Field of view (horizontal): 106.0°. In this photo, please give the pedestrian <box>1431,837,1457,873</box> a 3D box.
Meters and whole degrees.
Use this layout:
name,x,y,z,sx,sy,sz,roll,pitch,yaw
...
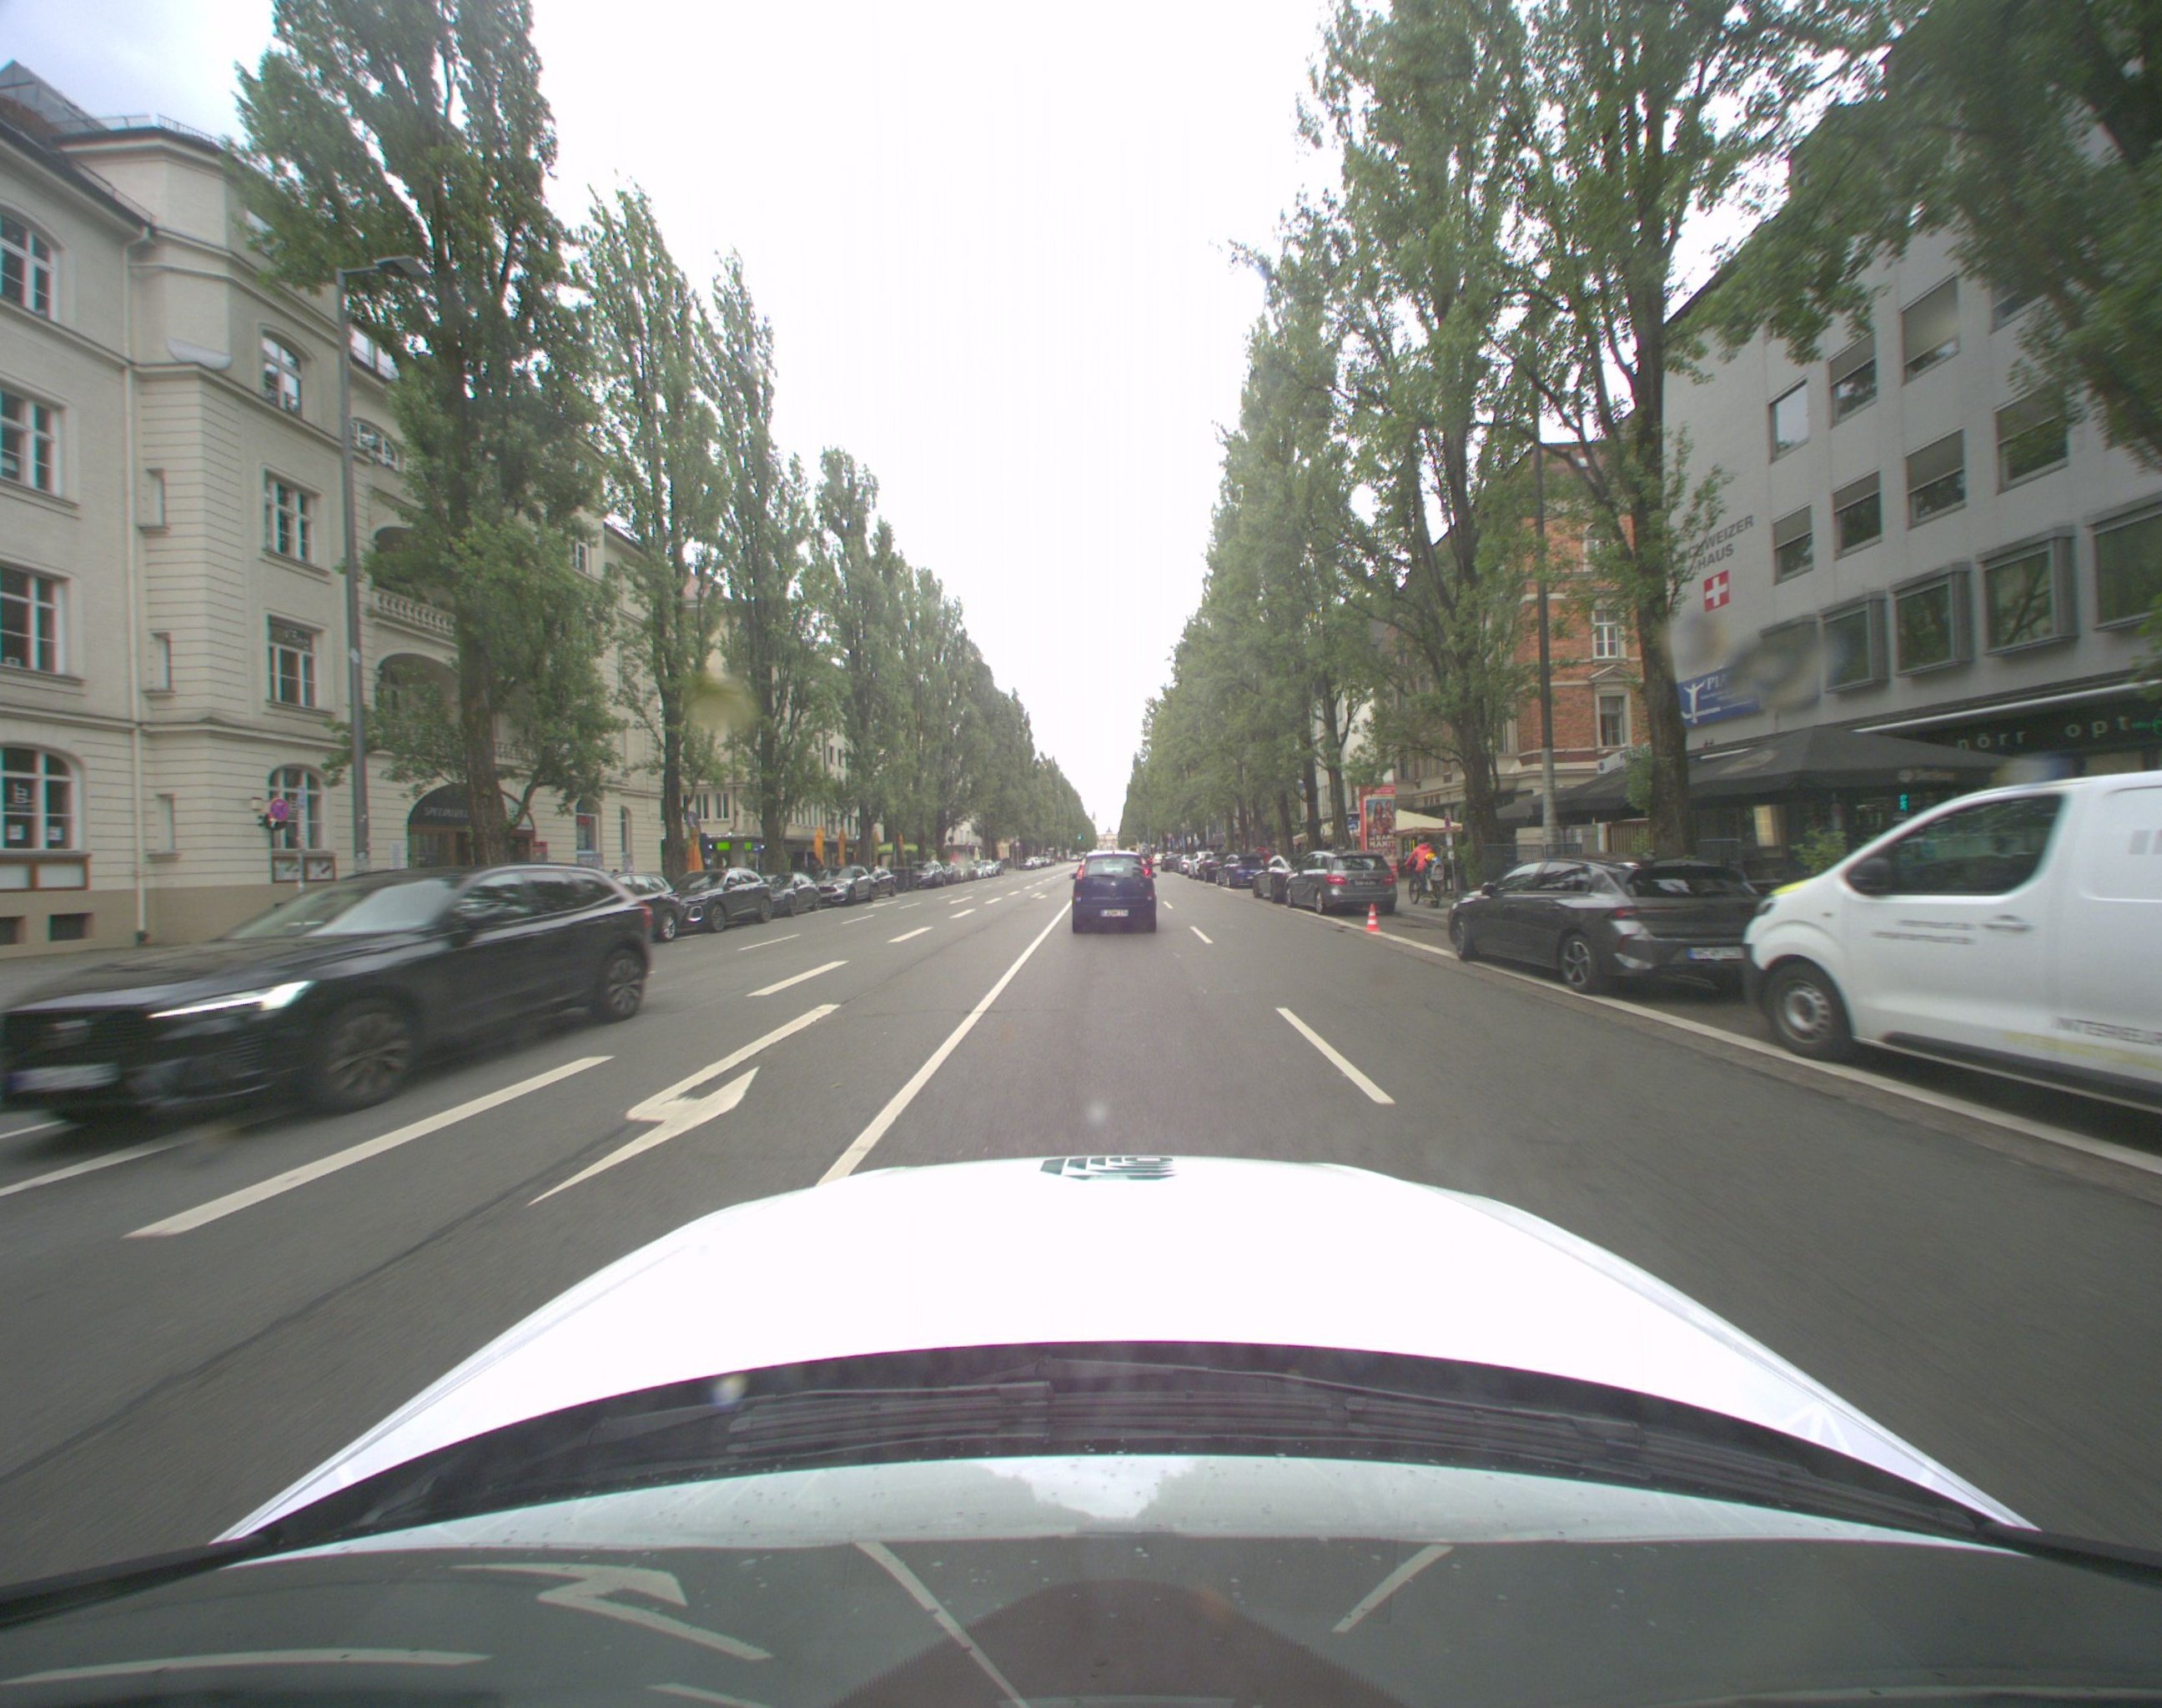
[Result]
name,x,y,z,sx,sy,sz,roll,pitch,yaw
pedestrian,16.896,0.058,37.943,0.726,1.609,0.991,-2,0,2

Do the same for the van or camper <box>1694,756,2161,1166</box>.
name,x,y,z,sx,sy,sz,roll,pitch,yaw
van or camper,5.901,0.471,4.210,1.861,1.883,4.905,-1,0,2

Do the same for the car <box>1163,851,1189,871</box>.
name,x,y,z,sx,sy,sz,roll,pitch,yaw
car,7.930,0.593,68.226,1.790,1.594,4.106,0,0,2

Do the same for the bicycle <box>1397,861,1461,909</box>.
name,x,y,z,sx,sy,sz,roll,pitch,yaw
bicycle,8.626,0.748,20.292,0.624,1.086,2.264,-2,0,1

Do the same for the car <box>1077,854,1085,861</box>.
name,x,y,z,sx,sy,sz,roll,pitch,yaw
car,0.024,0.881,217.187,1.828,1.739,3.780,-2,0,1

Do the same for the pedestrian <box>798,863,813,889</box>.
name,x,y,z,sx,sy,sz,roll,pitch,yaw
pedestrian,-18.452,1.450,54.503,0.622,1.721,0.828,-2,0,4

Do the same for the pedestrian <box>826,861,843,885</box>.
name,x,y,z,sx,sy,sz,roll,pitch,yaw
pedestrian,-18.616,1.413,61.582,0.848,1.744,1.149,-2,0,2

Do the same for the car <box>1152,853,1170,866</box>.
name,x,y,z,sx,sy,sz,roll,pitch,yaw
car,9.365,0.615,95.288,1.890,1.362,3.902,-2,0,2

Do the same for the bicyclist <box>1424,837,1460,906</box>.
name,x,y,z,sx,sy,sz,roll,pitch,yaw
bicyclist,8.586,0.410,19.358,0.619,1.588,0.391,-2,0,1

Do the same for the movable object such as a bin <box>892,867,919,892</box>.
name,x,y,z,sx,sy,sz,roll,pitch,yaw
movable object such as a bin,-9.882,1.443,45.900,1.255,1.317,0.825,-2,0,0

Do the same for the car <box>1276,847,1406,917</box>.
name,x,y,z,sx,sy,sz,roll,pitch,yaw
car,6.438,0.646,20.670,1.811,1.506,4.230,-2,0,-1

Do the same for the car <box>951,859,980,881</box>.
name,x,y,z,sx,sy,sz,roll,pitch,yaw
car,-8.887,1.223,62.990,1.836,1.565,4.174,-2,0,-4

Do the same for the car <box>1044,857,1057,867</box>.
name,x,y,z,sx,sy,sz,roll,pitch,yaw
car,-5.363,1.402,143.527,1.986,1.662,4.001,-2,0,1

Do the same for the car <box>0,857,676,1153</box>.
name,x,y,z,sx,sy,sz,roll,pitch,yaw
car,-5.630,0.911,6.981,1.928,1.623,4.338,-4,0,2

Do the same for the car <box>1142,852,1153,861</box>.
name,x,y,z,sx,sy,sz,roll,pitch,yaw
car,10.587,0.415,129.986,1.663,1.352,4.106,-2,0,2

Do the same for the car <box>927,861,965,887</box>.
name,x,y,z,sx,sy,sz,roll,pitch,yaw
car,-8.955,1.290,54.325,1.691,1.550,4.083,-2,0,1

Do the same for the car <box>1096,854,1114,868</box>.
name,x,y,z,sx,sy,sz,roll,pitch,yaw
car,2.833,0.800,97.258,1.986,1.497,4.001,-2,0,1

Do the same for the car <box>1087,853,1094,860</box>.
name,x,y,z,sx,sy,sz,roll,pitch,yaw
car,2.561,0.743,215.102,1.828,1.677,3.780,-2,0,1

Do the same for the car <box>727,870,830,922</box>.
name,x,y,z,sx,sy,sz,roll,pitch,yaw
car,-10.010,1.334,27.355,1.680,1.424,4.685,-4,0,-1

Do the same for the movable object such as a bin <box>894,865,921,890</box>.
name,x,y,z,sx,sy,sz,roll,pitch,yaw
movable object such as a bin,-9.998,1.346,46.889,1.309,1.317,0.819,-2,0,0

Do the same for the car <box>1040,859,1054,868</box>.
name,x,y,z,sx,sy,sz,roll,pitch,yaw
car,-5.554,1.588,132.682,1.954,1.399,3.780,-2,0,1

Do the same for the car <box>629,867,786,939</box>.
name,x,y,z,sx,sy,sz,roll,pitch,yaw
car,-10.032,1.237,22.366,1.795,1.594,4.637,-3,0,5

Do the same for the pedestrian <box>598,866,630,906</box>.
name,x,y,z,sx,sy,sz,roll,pitch,yaw
pedestrian,-18.562,1.256,32.396,0.765,1.537,0.805,-1,-1,1

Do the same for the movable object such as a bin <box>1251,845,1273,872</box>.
name,x,y,z,sx,sy,sz,roll,pitch,yaw
movable object such as a bin,12.070,0.282,54.246,1.030,1.703,1.586,-2,0,-2

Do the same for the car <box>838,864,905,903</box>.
name,x,y,z,sx,sy,sz,roll,pitch,yaw
car,-9.635,1.318,37.815,1.656,1.504,4.316,-4,0,3

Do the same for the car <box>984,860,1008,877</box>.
name,x,y,z,sx,sy,sz,roll,pitch,yaw
car,-7.968,1.372,76.751,1.579,1.447,3.395,-2,0,4

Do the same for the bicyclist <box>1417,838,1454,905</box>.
name,x,y,z,sx,sy,sz,roll,pitch,yaw
bicyclist,8.599,0.413,19.760,0.619,1.588,0.481,-2,0,1

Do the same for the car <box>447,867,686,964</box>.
name,x,y,z,sx,sy,sz,roll,pitch,yaw
car,-10.376,1.142,16.964,1.813,1.618,4.718,-2,0,2

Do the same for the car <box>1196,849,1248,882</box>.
name,x,y,z,sx,sy,sz,roll,pitch,yaw
car,7.323,0.557,42.703,1.986,1.565,4.485,-2,0,1

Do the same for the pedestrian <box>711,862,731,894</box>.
name,x,y,z,sx,sy,sz,roll,pitch,yaw
pedestrian,-19.691,1.306,44.538,0.623,1.721,0.827,-2,0,1

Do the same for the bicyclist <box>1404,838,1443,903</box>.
name,x,y,z,sx,sy,sz,roll,pitch,yaw
bicyclist,8.617,0.418,20.539,0.619,1.588,0.753,-2,0,1

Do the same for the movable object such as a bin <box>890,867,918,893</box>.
name,x,y,z,sx,sy,sz,roll,pitch,yaw
movable object such as a bin,-9.552,1.394,43.925,1.272,1.310,0.902,-2,0,2

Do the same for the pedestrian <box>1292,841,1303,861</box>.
name,x,y,z,sx,sy,sz,roll,pitch,yaw
pedestrian,17.880,-0.273,67.125,0.652,1.626,0.704,-2,0,-1

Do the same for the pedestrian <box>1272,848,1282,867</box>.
name,x,y,z,sx,sy,sz,roll,pitch,yaw
pedestrian,18.609,0.311,77.444,0.724,1.751,0.860,-1,-1,2

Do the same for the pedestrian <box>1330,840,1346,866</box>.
name,x,y,z,sx,sy,sz,roll,pitch,yaw
pedestrian,16.942,-0.081,53.705,0.726,1.677,0.932,-2,0,2

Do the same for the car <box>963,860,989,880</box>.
name,x,y,z,sx,sy,sz,roll,pitch,yaw
car,-8.660,1.301,67.317,1.566,1.534,2.926,-2,0,4

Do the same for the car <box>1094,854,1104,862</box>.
name,x,y,z,sx,sy,sz,roll,pitch,yaw
car,3.594,0.781,163.319,1.954,1.399,3.780,-2,0,1

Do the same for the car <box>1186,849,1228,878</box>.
name,x,y,z,sx,sy,sz,roll,pitch,yaw
car,7.370,0.532,48.132,1.820,1.621,4.749,-1,0,1

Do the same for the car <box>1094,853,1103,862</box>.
name,x,y,z,sx,sy,sz,roll,pitch,yaw
car,3.714,0.710,170.398,1.828,1.761,3.780,-2,0,1

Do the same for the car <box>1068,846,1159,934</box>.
name,x,y,z,sx,sy,sz,roll,pitch,yaw
car,0.658,0.674,17.443,1.675,1.641,4.001,-1,0,1

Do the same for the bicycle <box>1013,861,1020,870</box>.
name,x,y,z,sx,sy,sz,roll,pitch,yaw
bicycle,-7.748,1.350,98.362,0.664,1.006,2.461,-2,0,-1

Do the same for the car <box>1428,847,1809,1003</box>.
name,x,y,z,sx,sy,sz,roll,pitch,yaw
car,5.929,0.658,9.747,1.714,1.442,4.353,0,0,0

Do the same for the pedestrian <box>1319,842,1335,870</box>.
name,x,y,z,sx,sy,sz,roll,pitch,yaw
pedestrian,16.204,0.147,53.743,0.726,1.802,0.932,-2,0,2

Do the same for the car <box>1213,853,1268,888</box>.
name,x,y,z,sx,sy,sz,roll,pitch,yaw
car,6.986,0.689,36.016,1.742,1.405,4.468,-2,0,3

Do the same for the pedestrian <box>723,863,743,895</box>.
name,x,y,z,sx,sy,sz,roll,pitch,yaw
pedestrian,-19.031,1.367,44.560,0.623,1.721,0.827,-2,0,1

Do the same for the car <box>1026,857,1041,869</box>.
name,x,y,z,sx,sy,sz,roll,pitch,yaw
car,-6.694,1.251,114.820,1.648,1.562,3.459,-2,0,2

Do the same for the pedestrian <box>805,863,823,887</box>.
name,x,y,z,sx,sy,sz,roll,pitch,yaw
pedestrian,-19.924,1.565,60.713,0.848,1.744,1.149,-2,0,2

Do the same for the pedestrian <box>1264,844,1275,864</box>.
name,x,y,z,sx,sy,sz,roll,pitch,yaw
pedestrian,15.749,-0.016,68.024,0.652,1.626,0.704,-2,0,-1

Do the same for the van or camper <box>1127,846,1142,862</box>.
name,x,y,z,sx,sy,sz,roll,pitch,yaw
van or camper,9.210,-0.028,140.711,2.467,2.581,5.847,-2,0,2

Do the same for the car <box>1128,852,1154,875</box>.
name,x,y,z,sx,sy,sz,roll,pitch,yaw
car,4.426,0.665,60.537,1.700,1.574,4.000,-2,0,1

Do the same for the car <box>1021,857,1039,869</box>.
name,x,y,z,sx,sy,sz,roll,pitch,yaw
car,-6.466,1.162,103.791,1.823,1.420,3.812,-2,0,2

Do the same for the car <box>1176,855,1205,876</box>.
name,x,y,z,sx,sy,sz,roll,pitch,yaw
car,7.819,0.818,58.462,1.664,1.406,4.128,0,0,1

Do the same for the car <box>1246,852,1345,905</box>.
name,x,y,z,sx,sy,sz,roll,pitch,yaw
car,6.570,0.704,25.527,1.872,1.432,4.805,-2,0,1

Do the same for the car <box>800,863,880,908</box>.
name,x,y,z,sx,sy,sz,roll,pitch,yaw
car,-9.507,1.184,32.447,1.775,1.575,4.134,-2,0,2

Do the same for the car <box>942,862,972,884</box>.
name,x,y,z,sx,sy,sz,roll,pitch,yaw
car,-8.935,1.368,58.997,1.625,1.428,2.984,-2,0,1

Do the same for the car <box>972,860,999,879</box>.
name,x,y,z,sx,sy,sz,roll,pitch,yaw
car,-8.359,1.329,71.452,1.829,1.546,4.086,-2,0,0

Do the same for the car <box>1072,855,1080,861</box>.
name,x,y,z,sx,sy,sz,roll,pitch,yaw
car,-1.404,1.180,223.774,1.954,1.549,3.780,-2,0,1

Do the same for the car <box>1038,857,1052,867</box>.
name,x,y,z,sx,sy,sz,roll,pitch,yaw
car,-5.632,1.233,127.015,1.955,1.530,4.000,-2,0,1

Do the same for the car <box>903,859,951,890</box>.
name,x,y,z,sx,sy,sz,roll,pitch,yaw
car,-9.323,1.192,49.692,1.858,1.654,4.616,-4,0,1

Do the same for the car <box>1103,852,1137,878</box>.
name,x,y,z,sx,sy,sz,roll,pitch,yaw
car,2.406,0.648,51.380,1.986,1.497,4.001,-2,0,1
